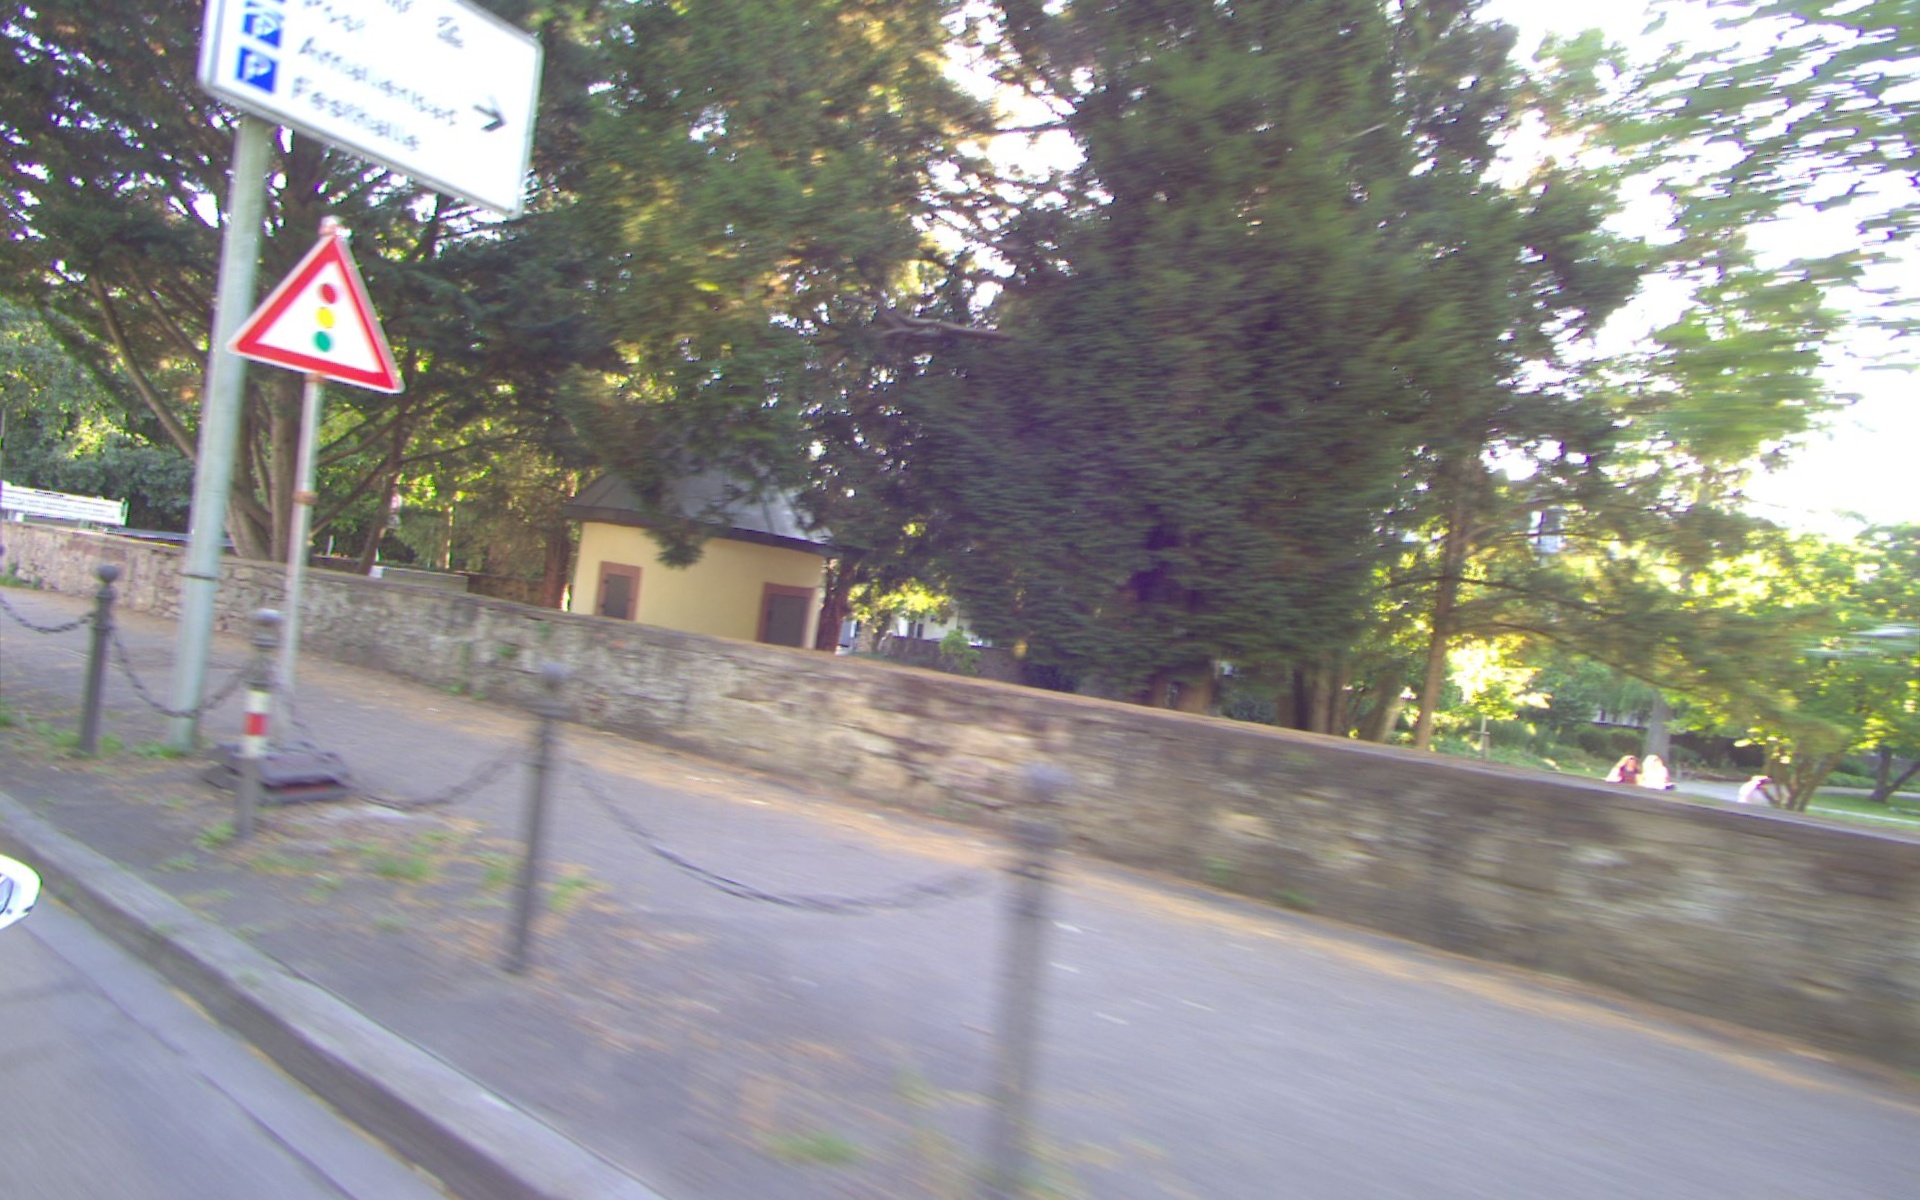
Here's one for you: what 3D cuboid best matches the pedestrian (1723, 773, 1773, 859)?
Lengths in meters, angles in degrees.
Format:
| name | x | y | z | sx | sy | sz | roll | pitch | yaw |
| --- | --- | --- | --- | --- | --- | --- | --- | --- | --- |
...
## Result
| name | x | y | z | sx | sy | sz | roll | pitch | yaw |
| --- | --- | --- | --- | --- | --- | --- | --- | --- | --- |
| pedestrian | 16.587 | 4.524 | 21.186 | 0.626 | 1.658 | 0.616 | 6 | -3 | 33 |

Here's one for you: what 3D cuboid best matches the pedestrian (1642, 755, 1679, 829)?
| name | x | y | z | sx | sy | sz | roll | pitch | yaw |
| --- | --- | --- | --- | --- | --- | --- | --- | --- | --- |
| pedestrian | 17.869 | 4.881 | 25.682 | 0.588 | 1.748 | 0.591 | 6 | -2 | 32 |

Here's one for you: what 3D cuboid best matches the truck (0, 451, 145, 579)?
| name | x | y | z | sx | sy | sz | roll | pitch | yaw |
| --- | --- | --- | --- | --- | --- | --- | --- | --- | --- |
| truck | -26.338 | -2.572 | 26.763 | 2.396 | 2.927 | 6.594 | 6 | -3 | 37 |

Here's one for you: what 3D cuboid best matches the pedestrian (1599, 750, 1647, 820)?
| name | x | y | z | sx | sy | sz | roll | pitch | yaw |
| --- | --- | --- | --- | --- | --- | --- | --- | --- | --- |
| pedestrian | 17.177 | 4.779 | 26.067 | 0.746 | 1.636 | 0.567 | 7 | -2 | 17 |
